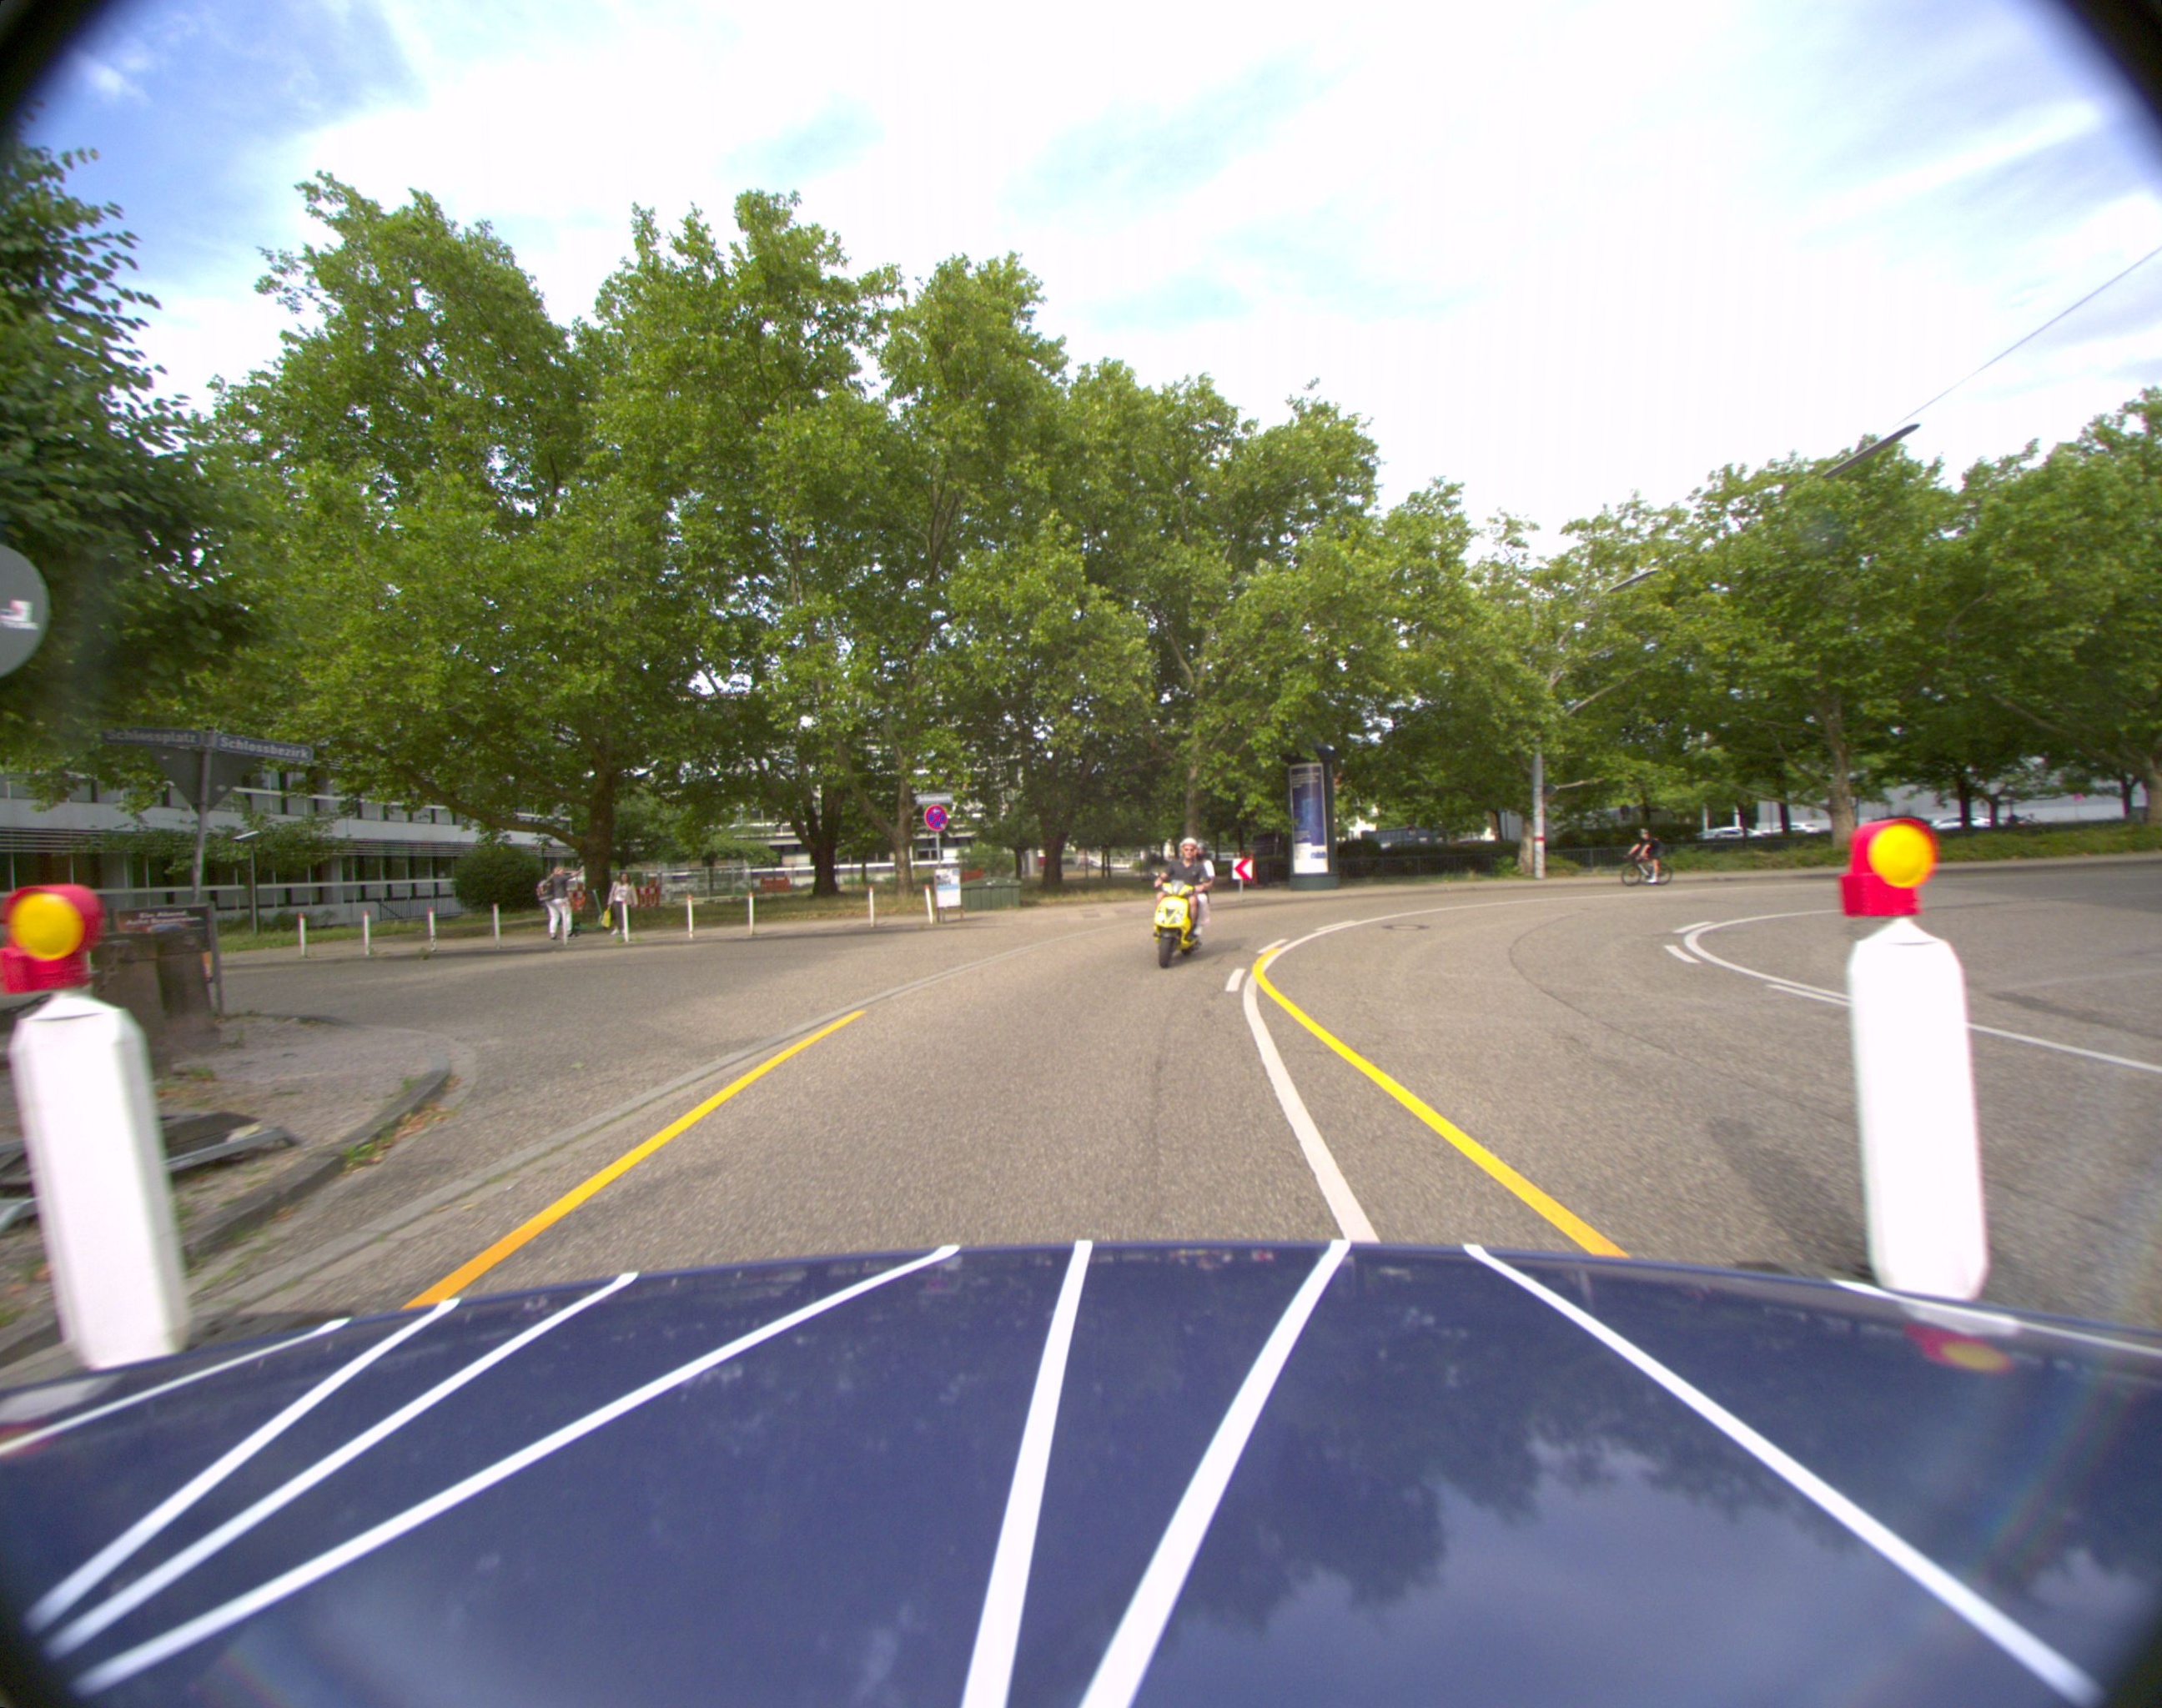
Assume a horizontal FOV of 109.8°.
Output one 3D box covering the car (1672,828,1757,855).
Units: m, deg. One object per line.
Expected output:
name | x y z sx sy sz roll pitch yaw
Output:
car | 46.743 -0.912 56.088 4.772 1.783 2.000 -2 -2 -6

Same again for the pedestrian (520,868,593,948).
pedestrian | -12.035 1.220 17.489 0.963 1.731 1.255 -2 -1 -14

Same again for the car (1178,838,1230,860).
car | 12.439 -0.487 77.021 4.772 2.001 2.000 -2 -2 -6

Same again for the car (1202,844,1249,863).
car | 13.213 -0.053 69.777 3.788 1.571 2.000 -2 -2 -6

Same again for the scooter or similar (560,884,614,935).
scooter or similar | -12.944 1.433 19.944 0.570 1.261 1.454 -2 -2 -7

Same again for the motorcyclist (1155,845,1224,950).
motorcyclist | 1.541 0.585 10.749 0.780 1.419 0.690 -1 1 25

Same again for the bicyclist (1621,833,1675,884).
bicyclist | 16.667 0.147 22.347 0.914 1.438 0.784 -2 -1 -9

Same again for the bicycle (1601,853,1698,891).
bicycle | 16.689 0.519 22.329 2.407 1.009 0.771 -2 -1 -7

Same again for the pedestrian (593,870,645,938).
pedestrian | -11.521 1.230 18.976 0.899 1.631 0.851 -2 -1 -18

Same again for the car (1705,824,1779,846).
car | 58.080 -1.653 66.820 4.770 1.620 2.000 -2 -2 -1

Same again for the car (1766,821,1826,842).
car | 71.296 -2.231 75.801 1.954 1.850 3.877 -2 -2 -11

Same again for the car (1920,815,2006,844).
car | 70.465 -1.956 60.792 2.000 2.001 3.999 -2 -2 -7

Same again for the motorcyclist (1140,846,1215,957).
motorcyclist | 1.307 0.607 10.225 0.780 1.419 0.765 -1 1 25

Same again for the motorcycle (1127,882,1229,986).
motorcycle | 1.356 1.009 10.259 0.780 1.171 1.996 -1 1 25
